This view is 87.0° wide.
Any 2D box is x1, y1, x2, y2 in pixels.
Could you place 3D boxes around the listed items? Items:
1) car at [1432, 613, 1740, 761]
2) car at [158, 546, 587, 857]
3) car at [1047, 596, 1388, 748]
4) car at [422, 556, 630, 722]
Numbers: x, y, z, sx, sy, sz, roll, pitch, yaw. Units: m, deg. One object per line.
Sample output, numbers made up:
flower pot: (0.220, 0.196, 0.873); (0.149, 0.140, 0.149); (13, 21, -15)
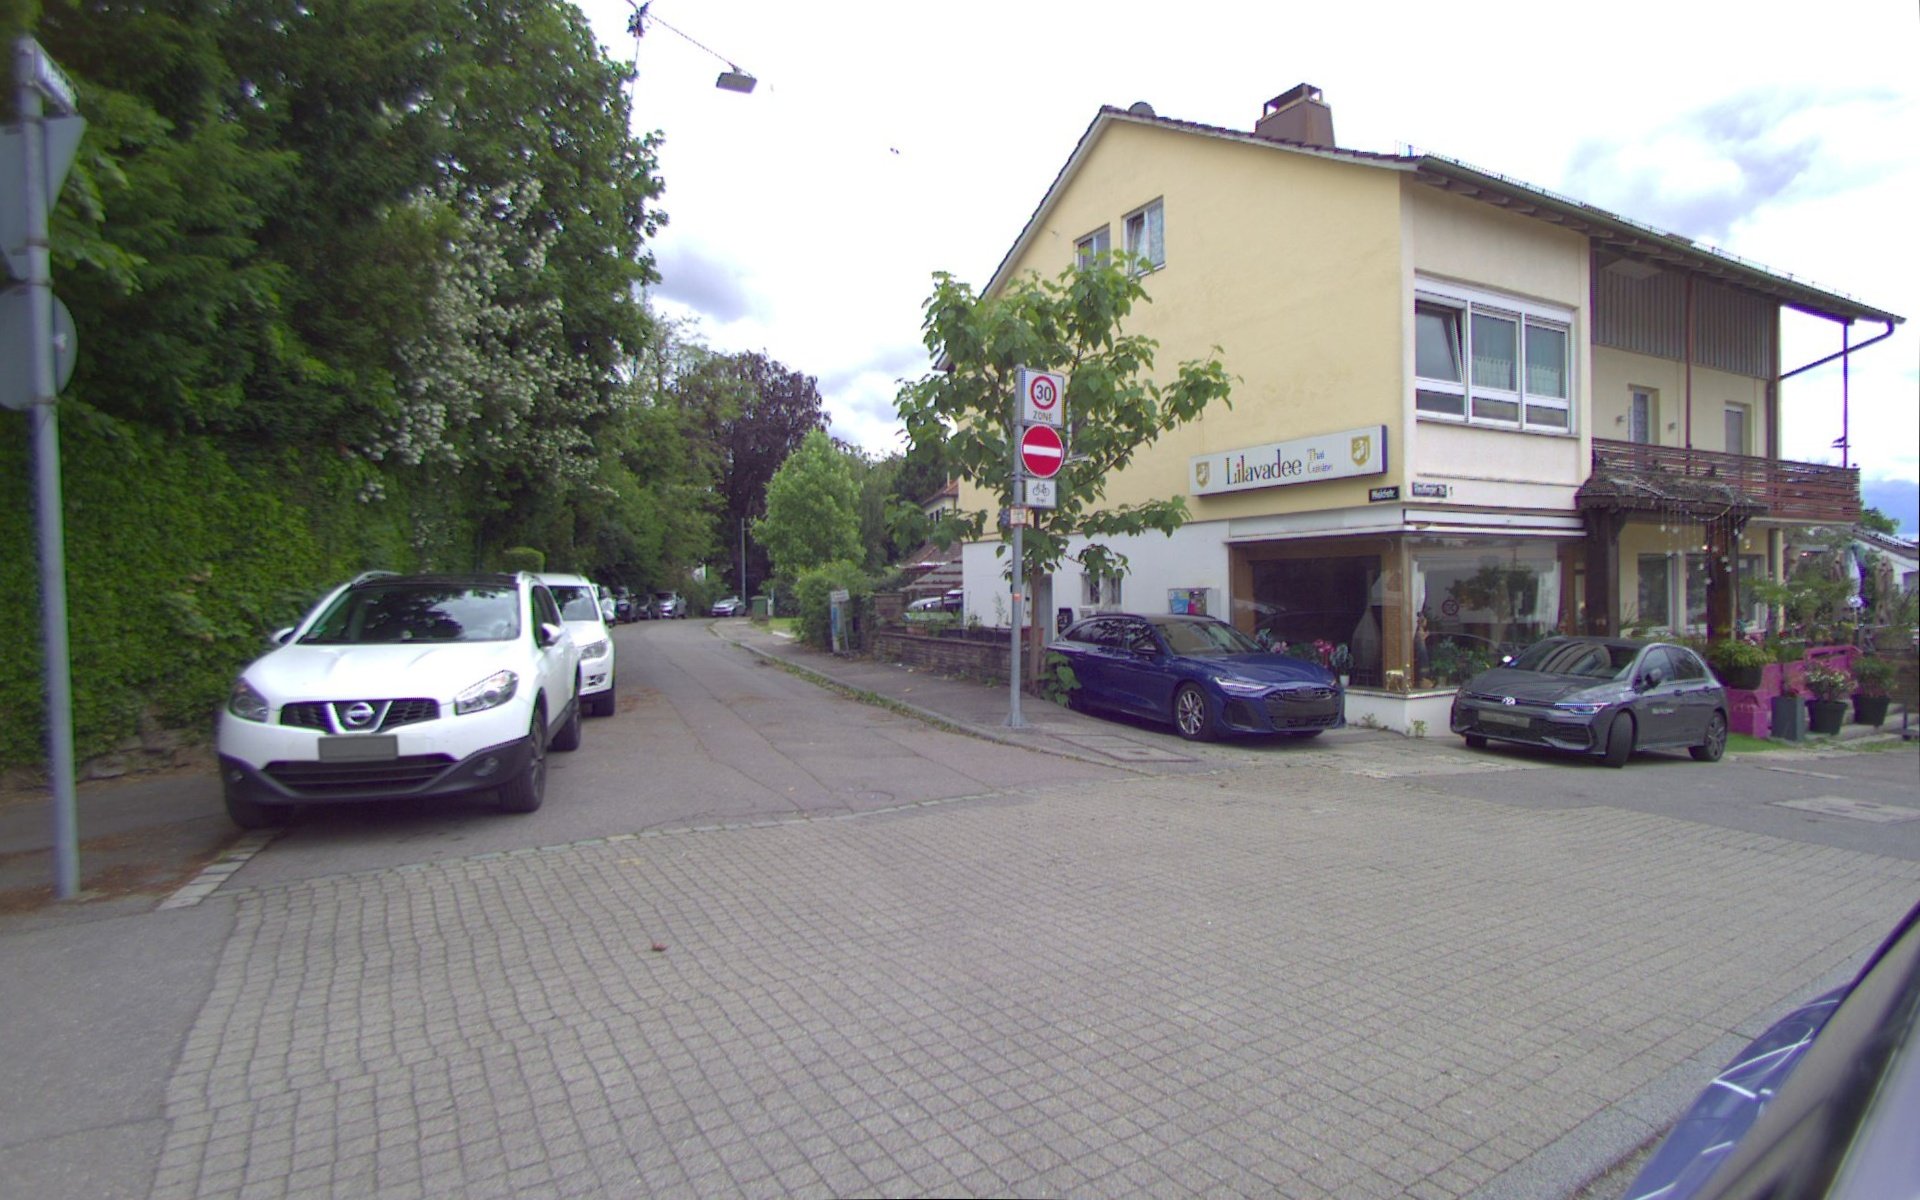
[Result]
car: (7.729, 1.032, 12.404); (3.808, 1.512, 1.875); (4, -3, -35)
car: (-3.952, 0.541, 7.617); (1.829, 1.660, 4.076); (2, 0, -16)
car: (3.029, 0.787, 12.882); (1.892, 1.548, 4.236); (3, -1, -25)
car: (-5.112, 0.369, 12.461); (1.829, 1.681, 4.076); (0, 0, -16)
